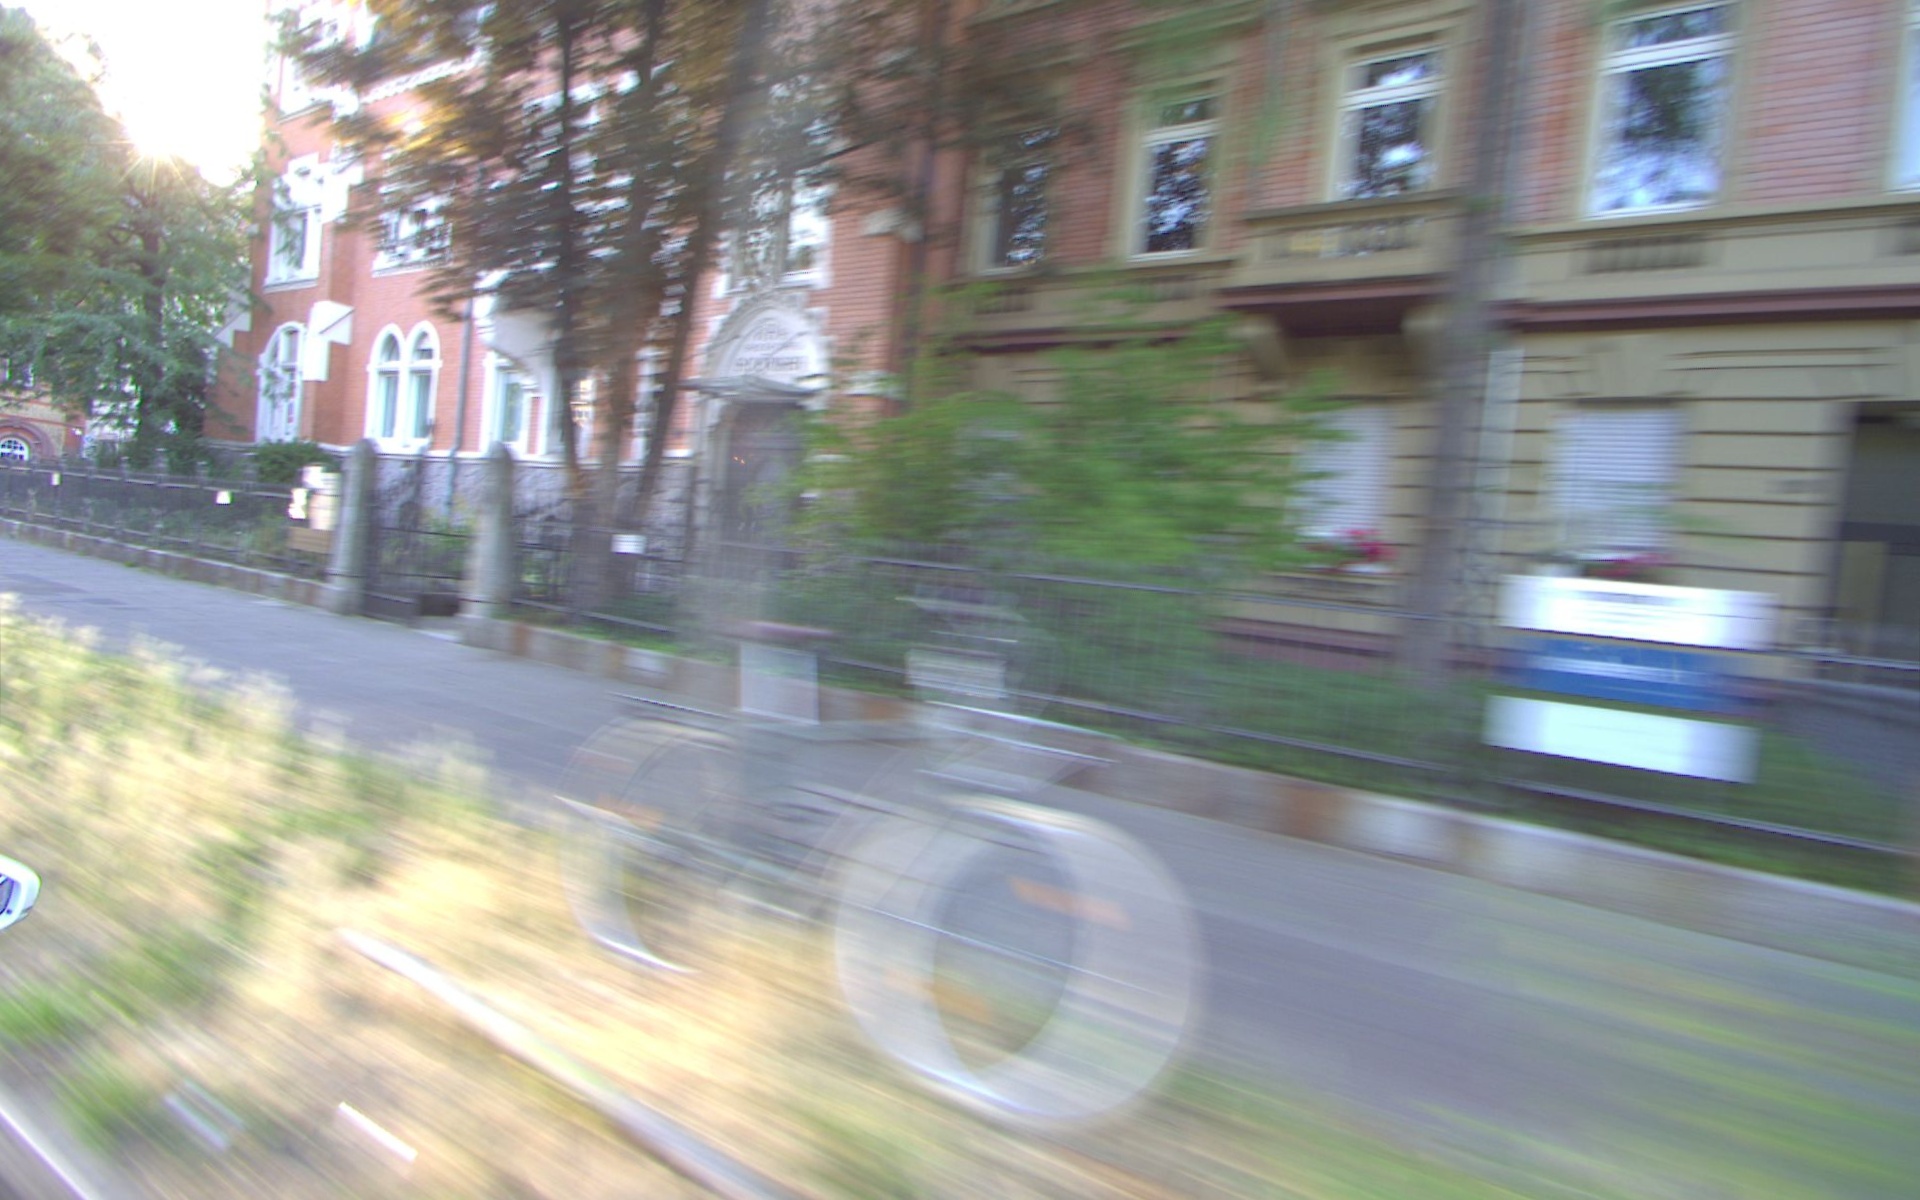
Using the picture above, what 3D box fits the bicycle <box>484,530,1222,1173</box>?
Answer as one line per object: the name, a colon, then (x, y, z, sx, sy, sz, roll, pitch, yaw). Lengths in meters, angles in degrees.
bicycle: (-0.367, 0.504, 2.795, 1.898, 1.181, 0.647, 7, 0, 29)
